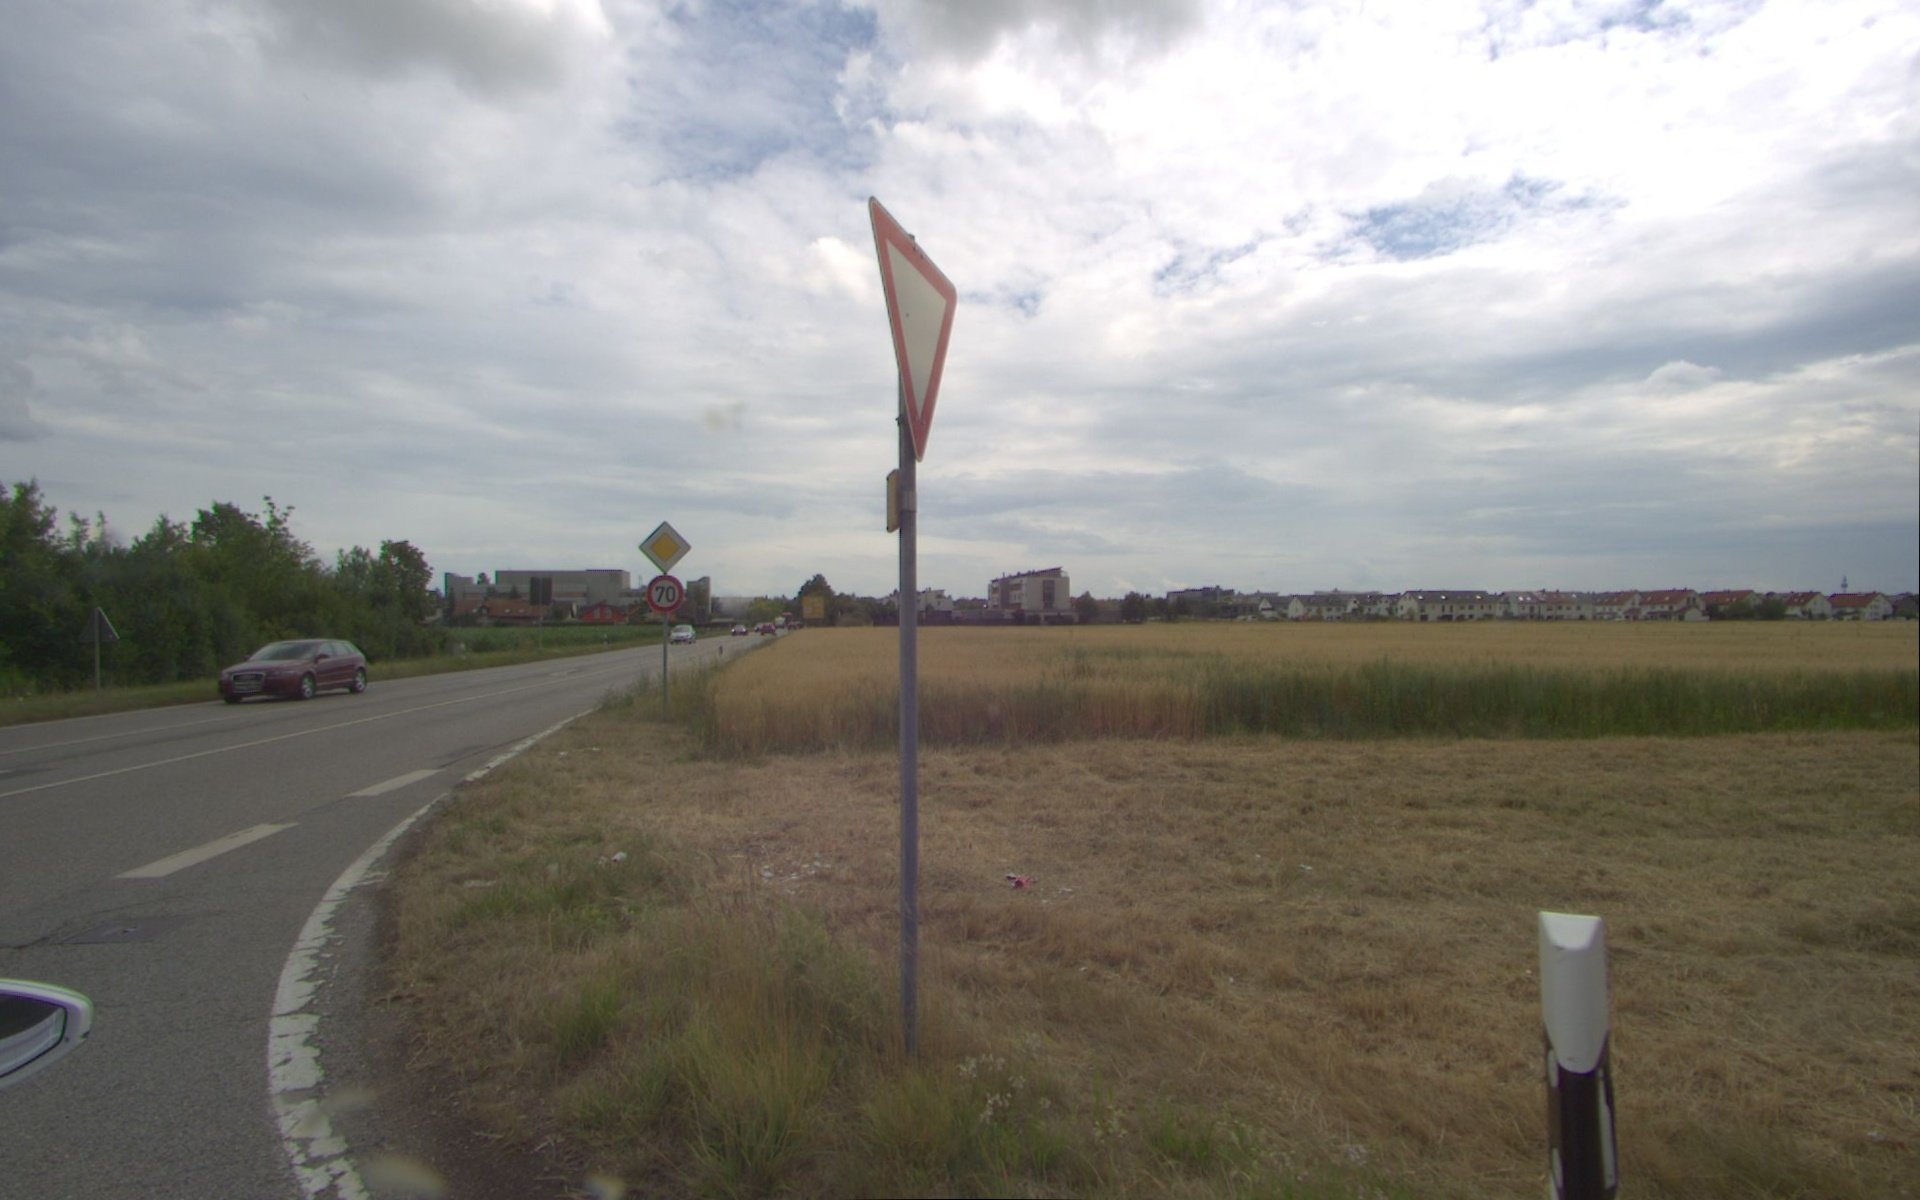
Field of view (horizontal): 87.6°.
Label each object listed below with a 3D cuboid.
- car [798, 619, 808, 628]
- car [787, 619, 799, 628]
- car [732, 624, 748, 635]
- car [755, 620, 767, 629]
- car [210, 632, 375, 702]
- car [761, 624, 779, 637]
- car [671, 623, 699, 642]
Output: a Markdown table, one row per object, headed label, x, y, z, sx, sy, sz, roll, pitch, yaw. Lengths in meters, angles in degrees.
| label | x | y | z | sx | sy | sz | roll | pitch | yaw |
| --- | --- | --- | --- | --- | --- | --- | --- | --- | --- |
| car | -33.624 | 5.036 | 214.206 | 1.828 | 1.750 | 3.999 | 0 | -1 | -5 |
| car | -32.381 | 4.529 | 194.250 | 1.828 | 1.750 | 3.999 | 0 | -1 | -5 |
| car | -27.680 | 3.689 | 126.183 | 1.743 | 1.257 | 4.210 | -1 | -1 | -9 |
| car | -32.460 | 3.993 | 163.483 | 1.642 | 1.448 | 4.302 | -2 | -1 | -8 |
| car | -16.053 | 1.559 | 24.347 | 1.646 | 1.420 | 4.088 | -1 | 0 | -7 |
| car | -24.213 | 3.890 | 127.674 | 1.828 | 1.586 | 3.999 | 0 | -1 | -5 |
| car | -22.670 | 2.677 | 82.677 | 1.702 | 1.450 | 3.933 | -2 | -1 | -8 |
